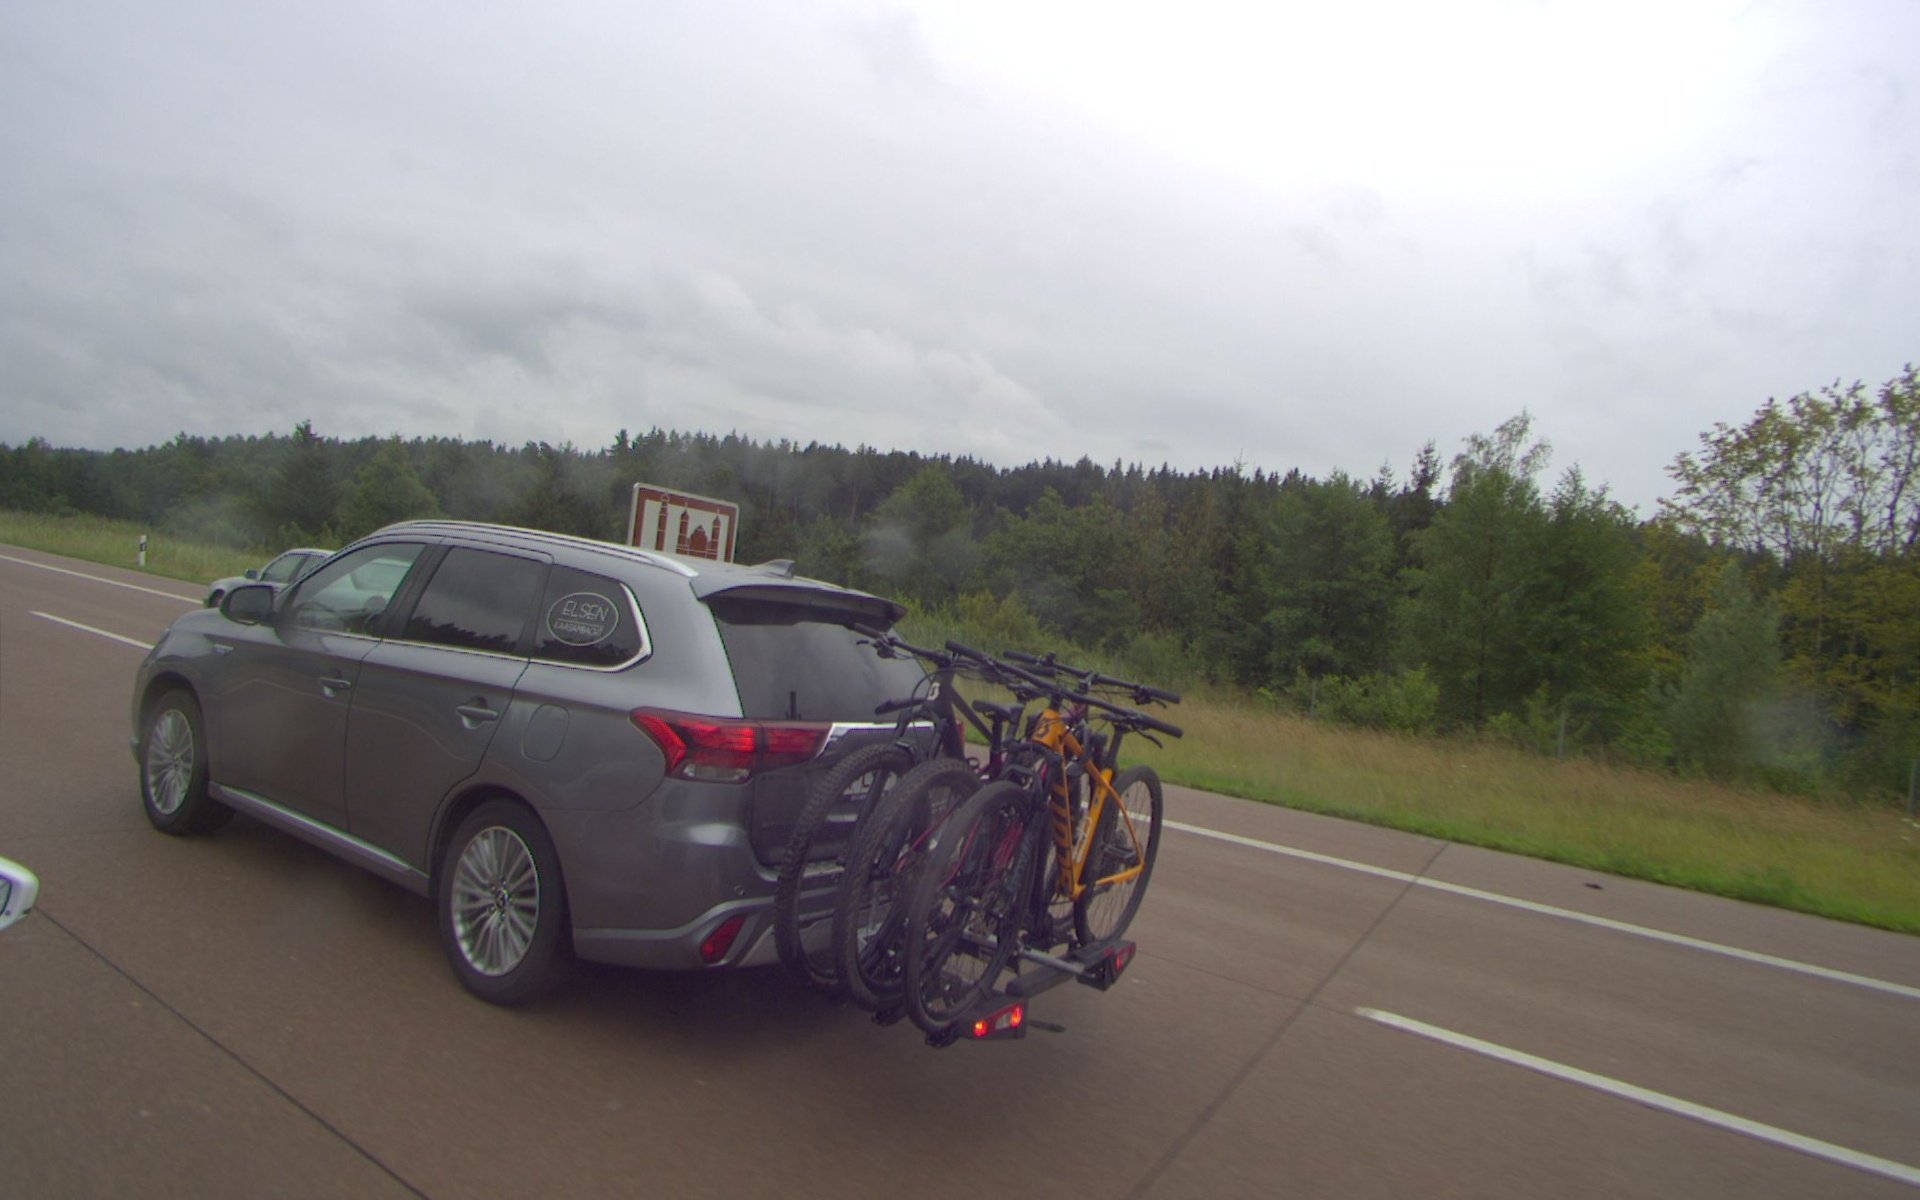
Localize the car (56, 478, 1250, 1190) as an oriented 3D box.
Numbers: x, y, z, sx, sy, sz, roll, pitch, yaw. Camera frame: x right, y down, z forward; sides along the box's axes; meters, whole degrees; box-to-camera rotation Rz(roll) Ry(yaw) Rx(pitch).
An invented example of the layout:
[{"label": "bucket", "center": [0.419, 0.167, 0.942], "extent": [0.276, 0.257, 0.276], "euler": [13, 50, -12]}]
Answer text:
[{"label": "car", "center": [-1.837, 0.464, 4.745], "extent": [5.725, 1.611, 1.997], "euler": [5, -3, 32]}]

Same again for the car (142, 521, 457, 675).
[{"label": "car", "center": [-9.320, -0.078, 14.049], "extent": [4.895, 1.631, 1.700], "euler": [5, -1, 32]}]

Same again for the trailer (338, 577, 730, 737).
[{"label": "trailer", "center": [-5.138, 0.633, 11.942], "extent": [4.563, 1.180, 1.975], "euler": [7, -2, 33]}]
